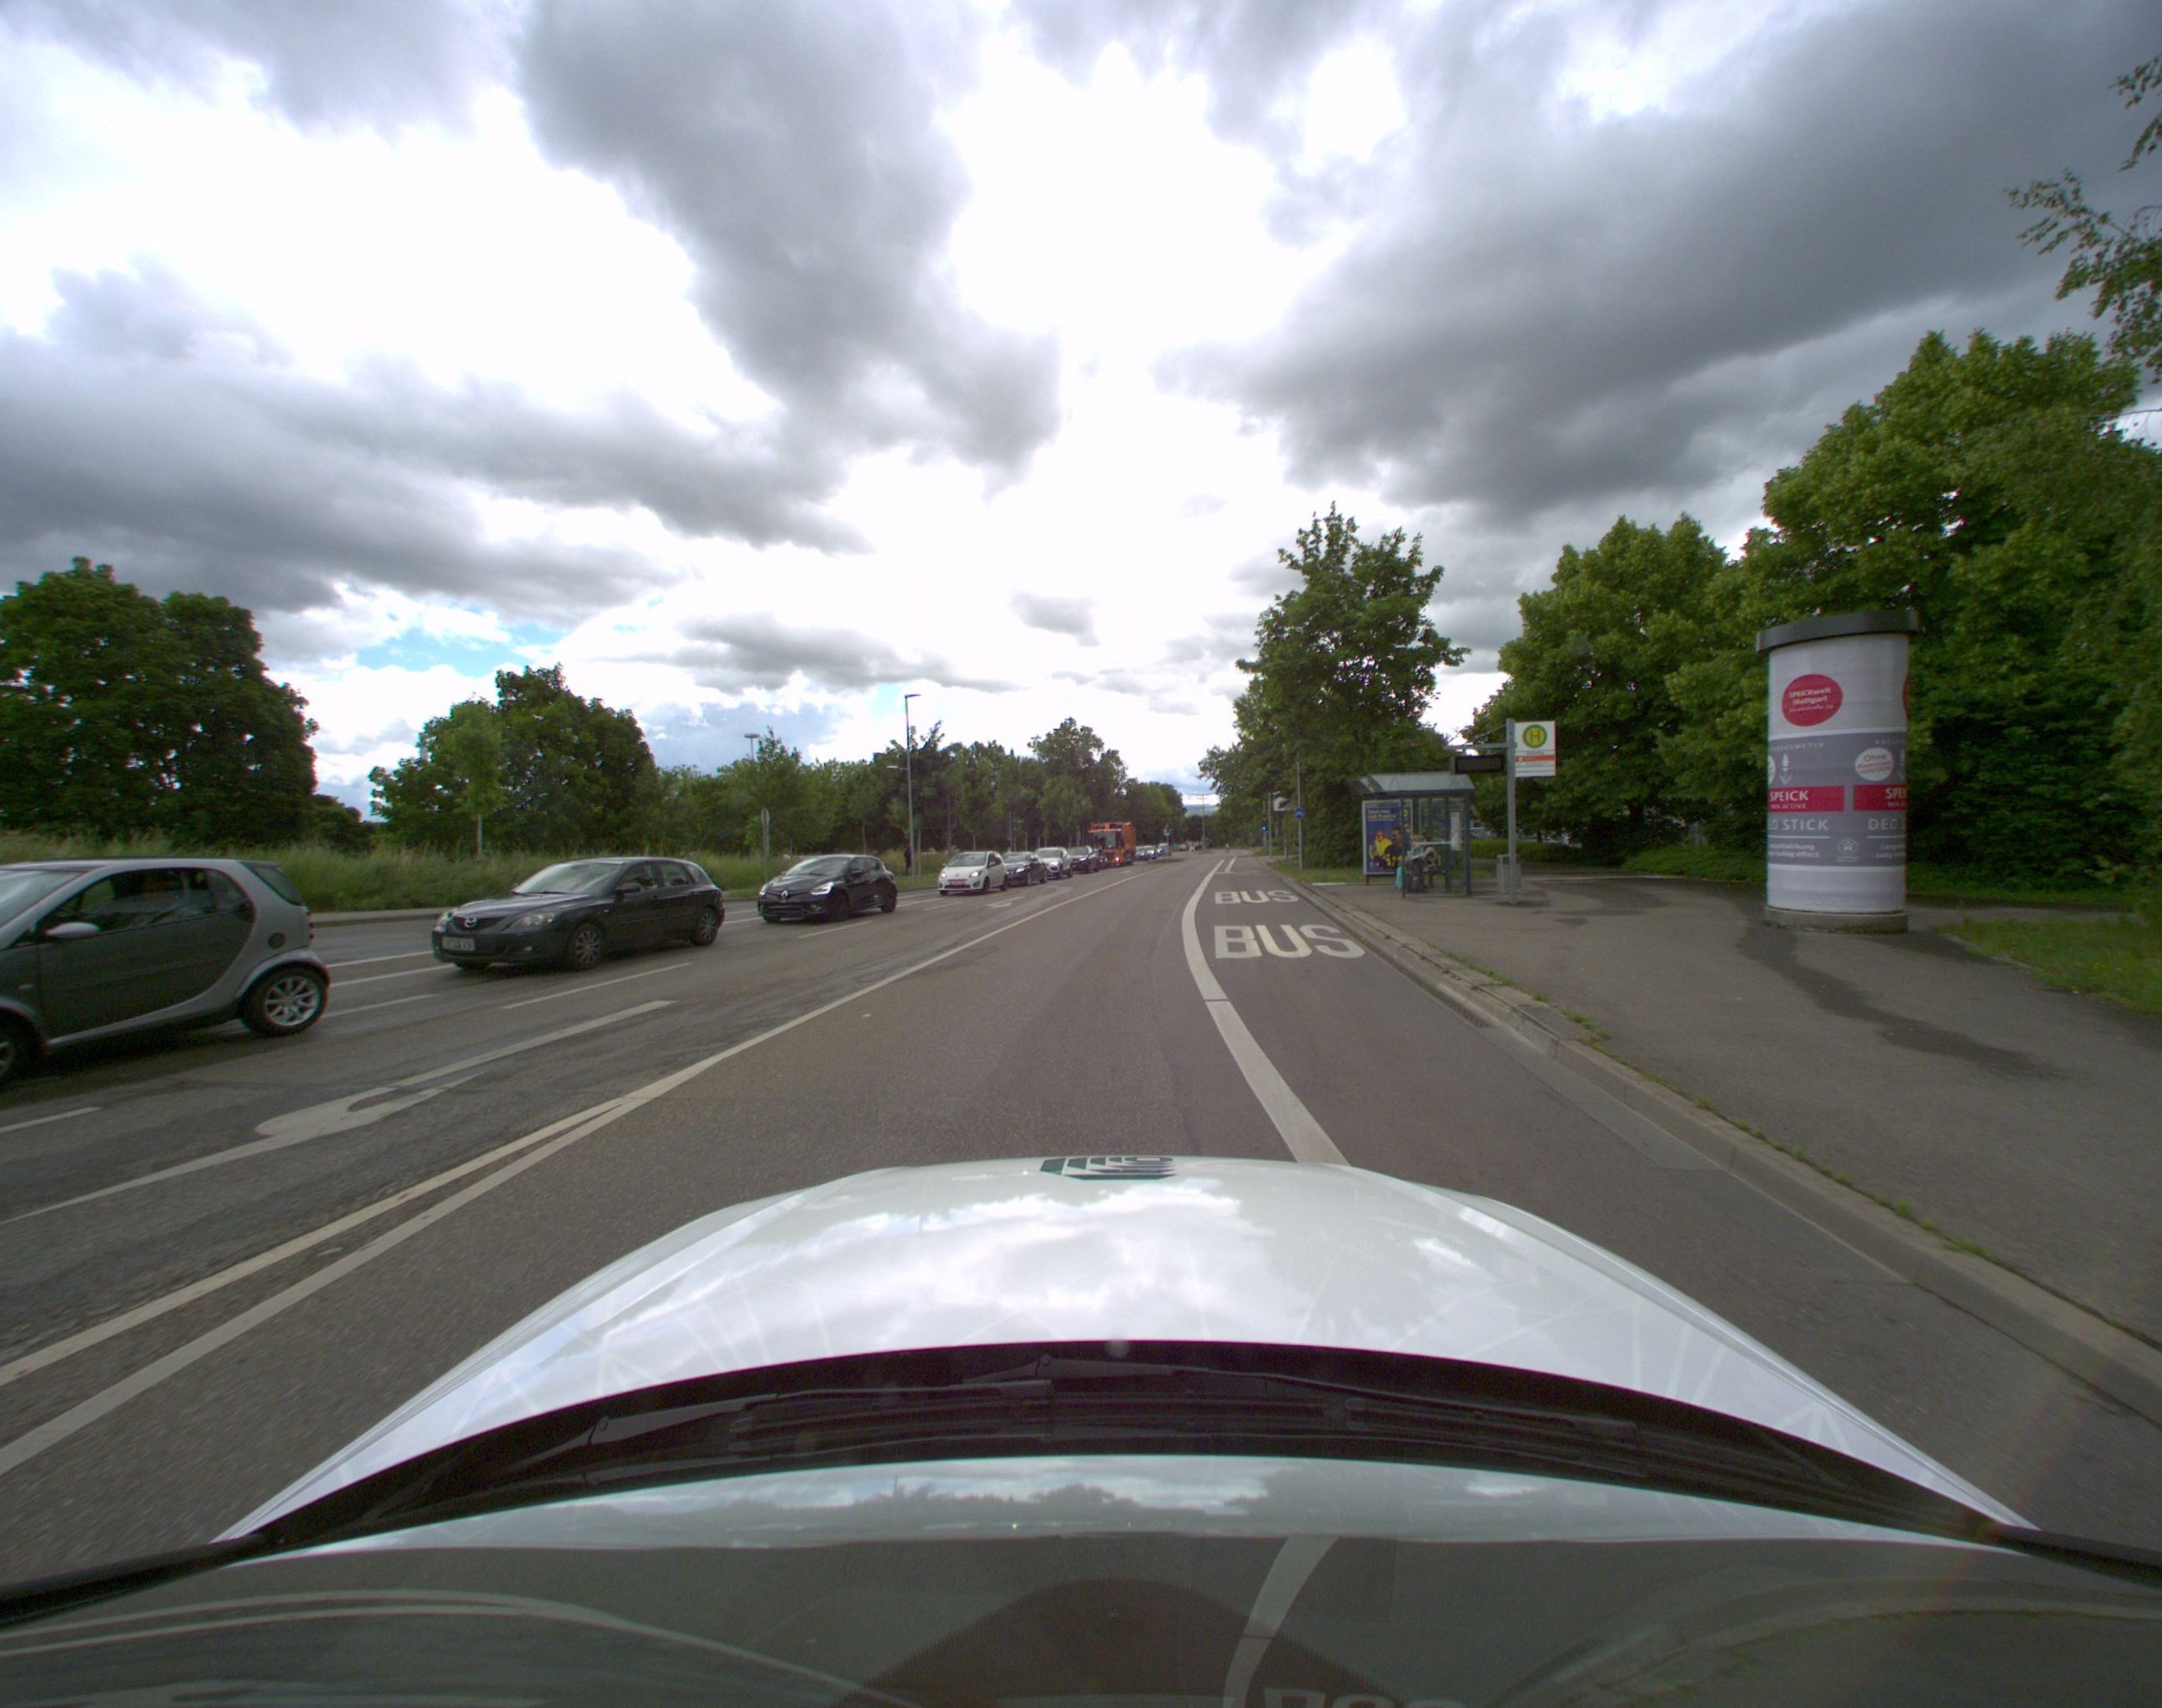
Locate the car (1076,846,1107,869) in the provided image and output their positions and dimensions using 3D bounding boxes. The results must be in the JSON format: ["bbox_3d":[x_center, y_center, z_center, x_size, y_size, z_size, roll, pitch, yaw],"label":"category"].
[{"bbox_3d":[0.745,0.214,54.425,1.425,1.457,3.906,-2,1,10],"label":"car"}]

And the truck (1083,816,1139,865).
[{"bbox_3d":[2.503,-1.045,63.573,2.688,3.487,10.026,-2,1,11],"label":"truck"}]

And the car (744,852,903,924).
[{"bbox_3d":[-5.597,0.686,18.260,1.629,1.332,4.072,-2,1,10],"label":"car"}]

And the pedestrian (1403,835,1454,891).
[{"bbox_3d":[7.984,0.198,18.727,0.779,1.252,0.765,-2,1,-31],"label":"pedestrian"}]

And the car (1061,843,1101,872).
[{"bbox_3d":[0.048,0.174,48.680,1.629,1.585,4.072,-2,1,10],"label":"car"}]

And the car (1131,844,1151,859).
[{"bbox_3d":[6.023,-0.282,81.080,1.538,1.331,3.664,-4,0,10],"label":"car"}]

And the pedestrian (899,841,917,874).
[{"bbox_3d":[-9.860,0.189,46.340,0.716,1.835,0.679,-2,0,11],"label":"pedestrian"}]

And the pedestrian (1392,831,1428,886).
[{"bbox_3d":[8.156,0.104,20.207,0.723,1.316,0.591,-1,1,12],"label":"pedestrian"}]

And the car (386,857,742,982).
[{"bbox_3d":[-6.954,0.779,11.656,1.789,1.332,4.391,-2,1,9],"label":"car"}]

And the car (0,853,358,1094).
[{"bbox_3d":[-7.592,0.799,6.217,1.420,1.526,2.781,-2,1,8],"label":"car"}]

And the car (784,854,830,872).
[{"bbox_3d":[-34.535,1.131,102.736,4.939,2.013,2.005,-3,0,8],"label":"car"}]

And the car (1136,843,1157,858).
[{"bbox_3d":[7.211,-0.400,89.065,1.835,1.520,4.828,-4,0,9],"label":"car"}]

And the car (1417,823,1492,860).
[{"bbox_3d":[21.975,-0.734,47.913,4.011,2.025,1.981,-2,0,-29],"label":"car"}]

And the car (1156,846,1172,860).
[{"bbox_3d":[11.790,-0.153,115.791,1.835,1.803,4.663,-4,0,9],"label":"car"}]

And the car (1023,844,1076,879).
[{"bbox_3d":[-1.519,0.348,41.093,1.719,1.585,4.236,-2,1,10],"label":"car"}]

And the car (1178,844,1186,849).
[{"bbox_3d":[26.498,-1.891,212.862,1.761,1.304,4.012,-2,0,10],"label":"car"}]

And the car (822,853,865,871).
[{"bbox_3d":[-30.917,1.016,106.043,4.941,2.190,2.004,-3,0,6],"label":"car"}]

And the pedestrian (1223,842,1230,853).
[{"bbox_3d":[19.913,-0.837,111.557,0.788,1.463,0.747,-2,0,-8],"label":"pedestrian"}]

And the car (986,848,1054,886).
[{"bbox_3d":[-2.476,0.489,34.299,1.629,1.390,4.899,-2,1,10],"label":"car"}]

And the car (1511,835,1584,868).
[{"bbox_3d":[34.391,-0.174,60.154,2.001,2.326,4.396,-2,0,-21],"label":"car"}]

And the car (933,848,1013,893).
[{"bbox_3d":[-3.709,0.539,28.590,1.629,1.390,3.773,-2,1,10],"label":"car"}]
